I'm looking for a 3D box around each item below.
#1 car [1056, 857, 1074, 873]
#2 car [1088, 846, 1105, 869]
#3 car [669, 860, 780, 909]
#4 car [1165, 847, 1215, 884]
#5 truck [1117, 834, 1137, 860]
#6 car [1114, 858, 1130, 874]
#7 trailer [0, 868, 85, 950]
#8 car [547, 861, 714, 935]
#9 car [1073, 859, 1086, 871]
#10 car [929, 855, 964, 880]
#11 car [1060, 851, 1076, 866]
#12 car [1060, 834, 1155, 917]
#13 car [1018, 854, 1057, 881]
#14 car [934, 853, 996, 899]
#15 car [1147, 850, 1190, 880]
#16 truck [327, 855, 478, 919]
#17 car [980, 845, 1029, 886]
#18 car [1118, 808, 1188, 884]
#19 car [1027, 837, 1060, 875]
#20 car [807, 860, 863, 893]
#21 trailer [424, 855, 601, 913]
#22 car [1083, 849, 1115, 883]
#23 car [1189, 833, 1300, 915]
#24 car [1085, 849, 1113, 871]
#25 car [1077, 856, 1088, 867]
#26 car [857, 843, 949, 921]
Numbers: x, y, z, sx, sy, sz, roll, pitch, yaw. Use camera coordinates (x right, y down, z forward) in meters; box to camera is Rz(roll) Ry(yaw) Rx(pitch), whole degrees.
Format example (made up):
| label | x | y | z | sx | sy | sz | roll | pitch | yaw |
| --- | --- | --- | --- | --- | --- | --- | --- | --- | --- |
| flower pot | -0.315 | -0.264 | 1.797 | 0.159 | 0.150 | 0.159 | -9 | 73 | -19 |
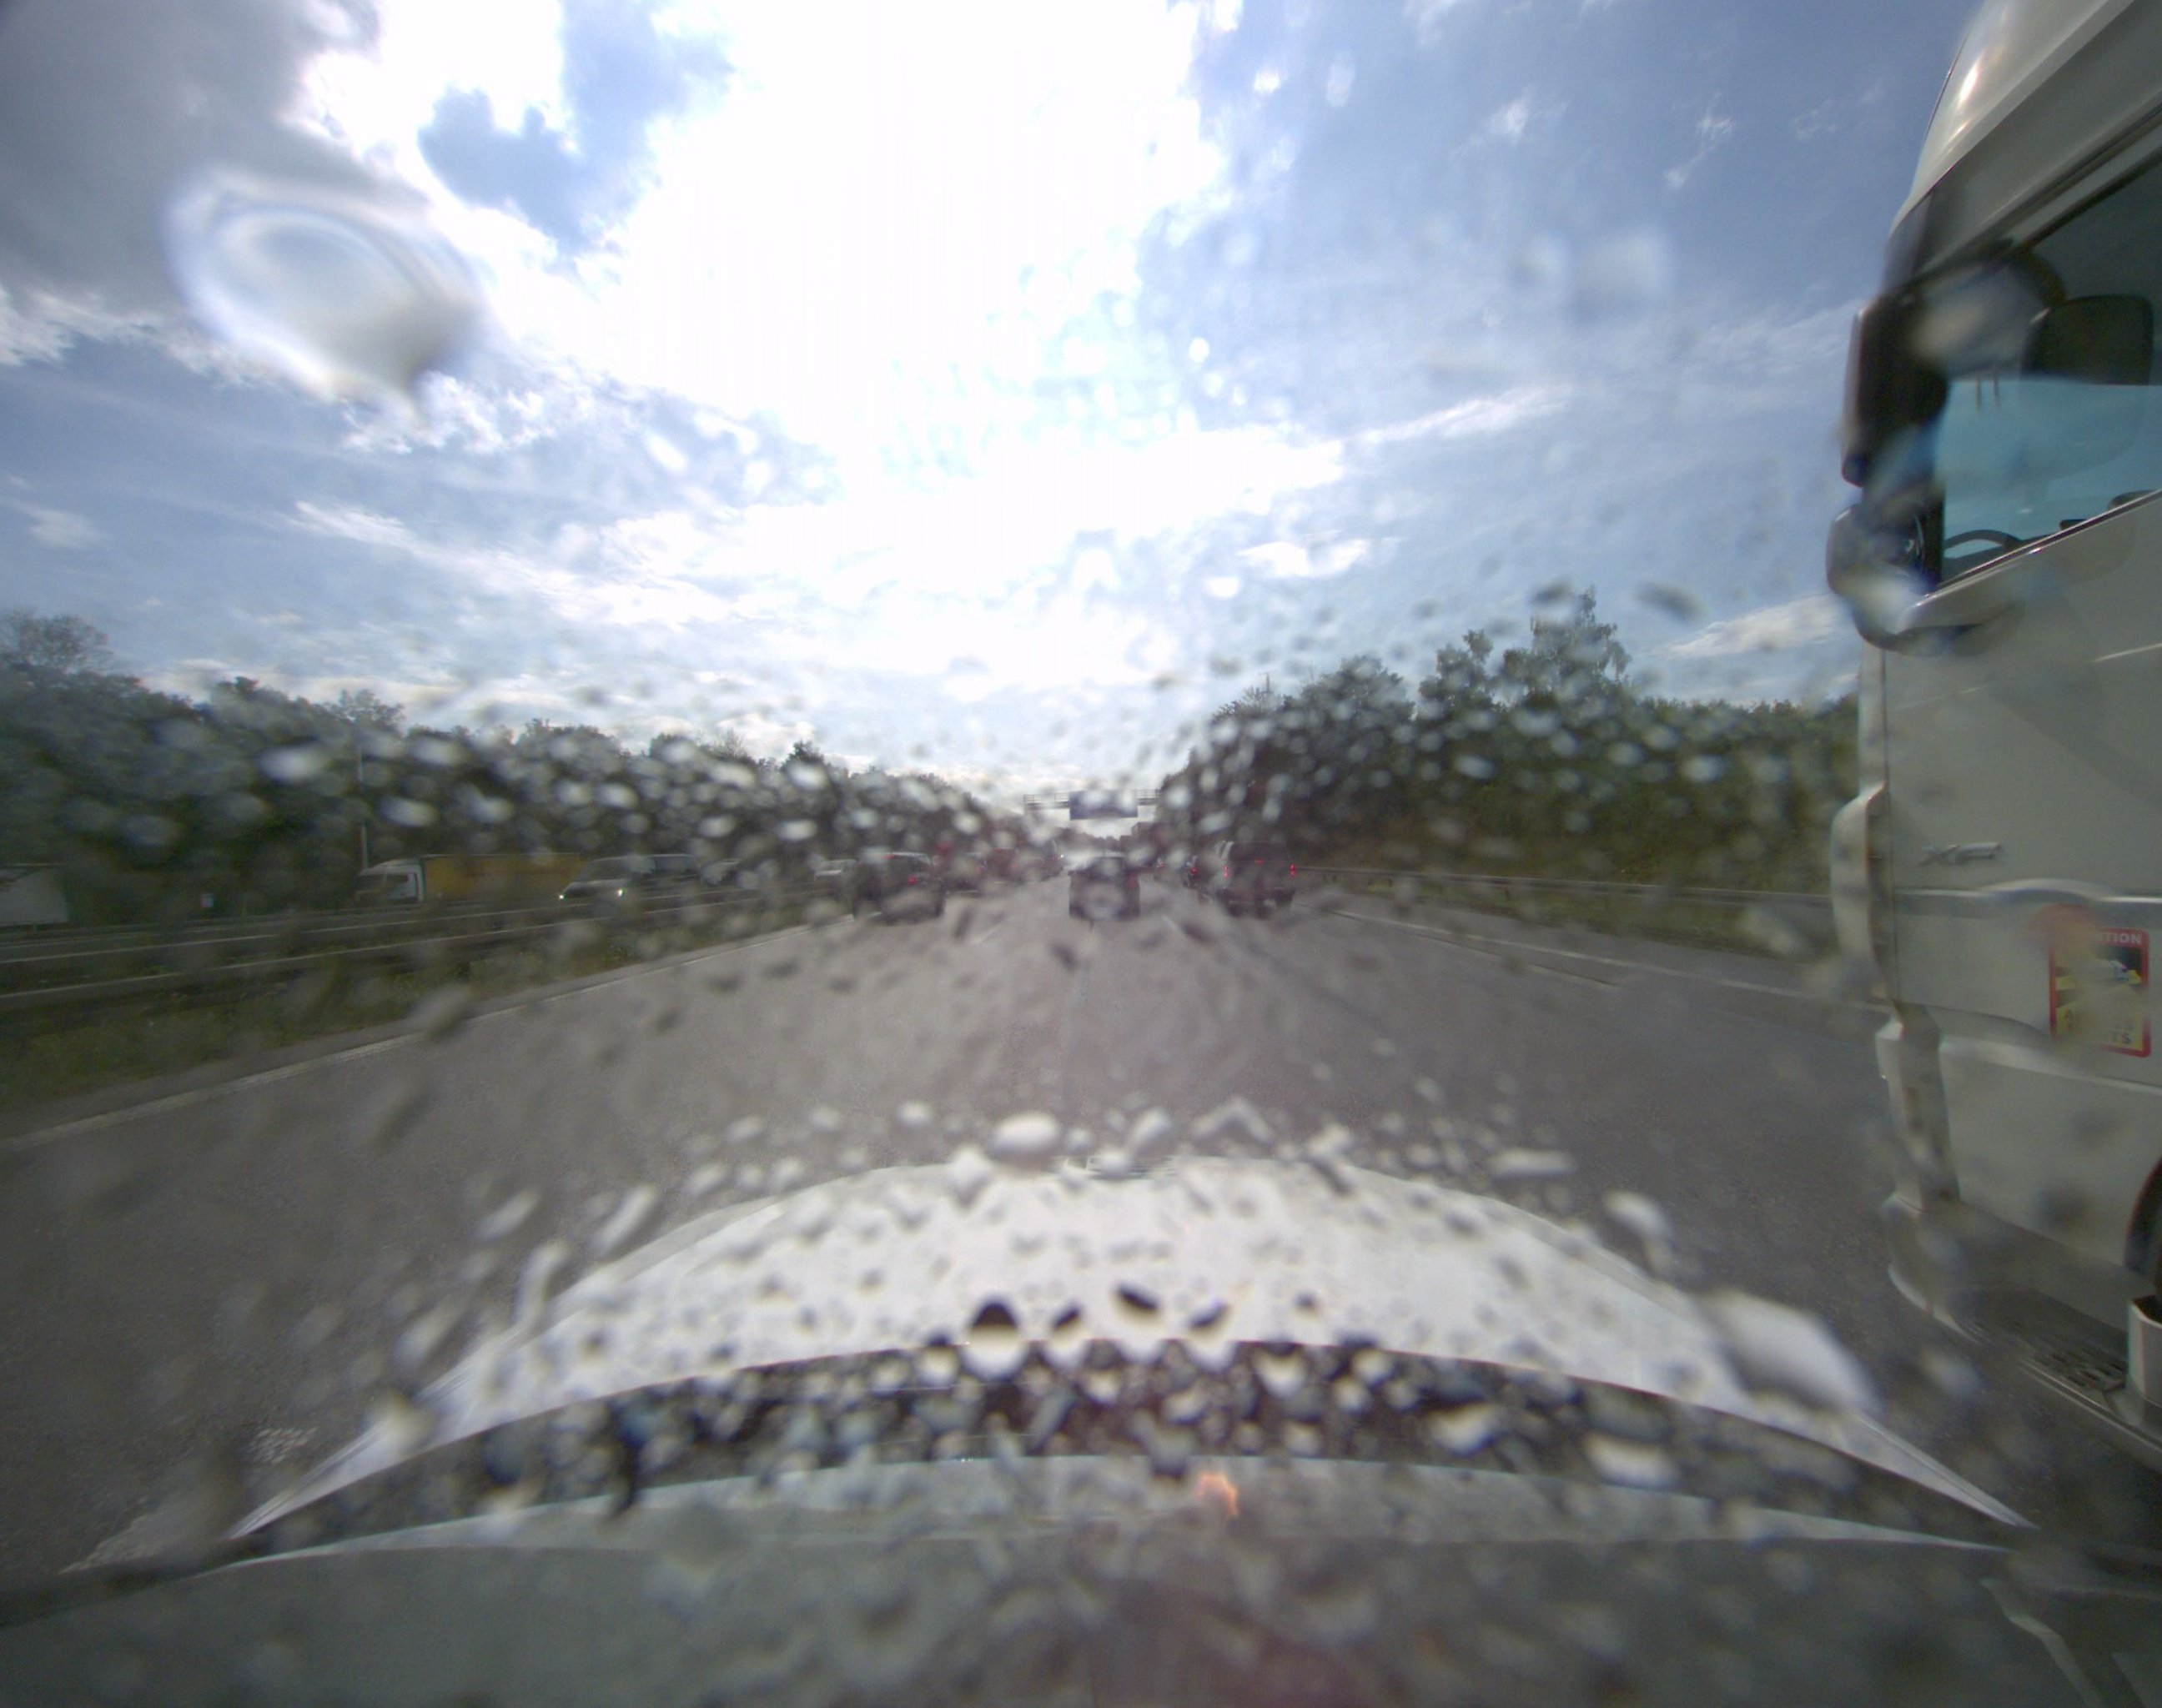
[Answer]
| label | x | y | z | sx | sy | sz | roll | pitch | yaw |
| --- | --- | --- | --- | --- | --- | --- | --- | --- | --- |
| car | -2.068 | 1.446 | 106.945 | 1.986 | 2.115 | 4.890 | -1 | -1 | 2 |
| car | 1.928 | 0.414 | 99.932 | 1.986 | 2.746 | 5.261 | -1 | -1 | 2 |
| car | -16.246 | 1.310 | 37.625 | 2.166 | 2.046 | 6.500 | -1 | -1 | 1 |
| car | 4.701 | 0.496 | 35.515 | 1.586 | 1.516 | 3.974 | -1 | -1 | -1 |
| truck | 6.727 | -0.946 | 119.359 | 2.765 | 3.631 | 5.919 | -1 | -1 | 2 |
| car | 5.356 | 1.553 | 106.342 | 1.986 | 2.115 | 4.890 | -1 | -1 | 2 |
| trailer | -51.009 | 2.577 | 34.529 | 3.767 | 3.649 | 10.523 | -2 | 0 | 8 |
| car | -12.771 | 1.155 | 23.565 | 1.946 | 1.891 | 5.058 | -1 | -1 | 1 |
| car | -0.271 | 1.888 | 139.566 | 1.986 | 2.115 | 4.890 | -1 | -1 | 2 |
| car | -11.398 | 1.139 | 69.541 | 2.044 | 2.046 | 5.209 | -1 | -1 | 1 |
| car | -1.832 | 0.631 | 117.607 | 1.986 | 2.115 | 4.890 | -1 | -1 | 2 |
| car | 0.636 | 0.532 | 21.943 | 2.267 | 1.954 | 4.820 | -1 | -1 | 0 |
| car | -2.627 | 0.821 | 50.044 | 1.986 | 1.565 | 4.758 | -1 | -1 | 2 |
| car | -4.556 | 0.824 | 32.653 | 1.904 | 1.636 | 4.613 | -2 | 0 | -2 |
| car | 4.714 | 0.593 | 44.422 | 1.859 | 1.516 | 3.974 | -1 | -1 | -1 |
| truck | -46.530 | 2.167 | 56.191 | 3.760 | 4.117 | 7.073 | -1 | -1 | 14 |
| car | -3.973 | 0.593 | 43.195 | 1.971 | 2.054 | 4.758 | -1 | -1 | 2 |
| car | 5.981 | -0.573 | 71.520 | 4.391 | 5.830 | 16.810 | -1 | -1 | -1 |
| car | -2.712 | 0.182 | 59.497 | 1.986 | 2.615 | 5.261 | -1 | -1 | 2 |
| car | -15.924 | 1.433 | 52.984 | 2.166 | 2.046 | 4.652 | -1 | -1 | 1 |
| trailer | -44.371 | 2.211 | 64.377 | 3.760 | 4.117 | 11.771 | -1 | -1 | 15 |
| car | 1.007 | 0.678 | 46.669 | 1.687 | 1.805 | 3.974 | -1 | -1 | -1 |
| car | 4.263 | 0.495 | 22.147 | 1.935 | 1.919 | 5.652 | -1 | -1 | 1 |
| car | 1.292 | 0.411 | 59.320 | 1.859 | 1.516 | 3.974 | -1 | -1 | -1 |
| car | 0.280 | 1.500 | 165.022 | 1.986 | 2.115 | 4.890 | -1 | -1 | 2 |
| car | -4.473 | 0.667 | 20.963 | 1.689 | 1.805 | 3.970 | -1 | -1 | -4 |
